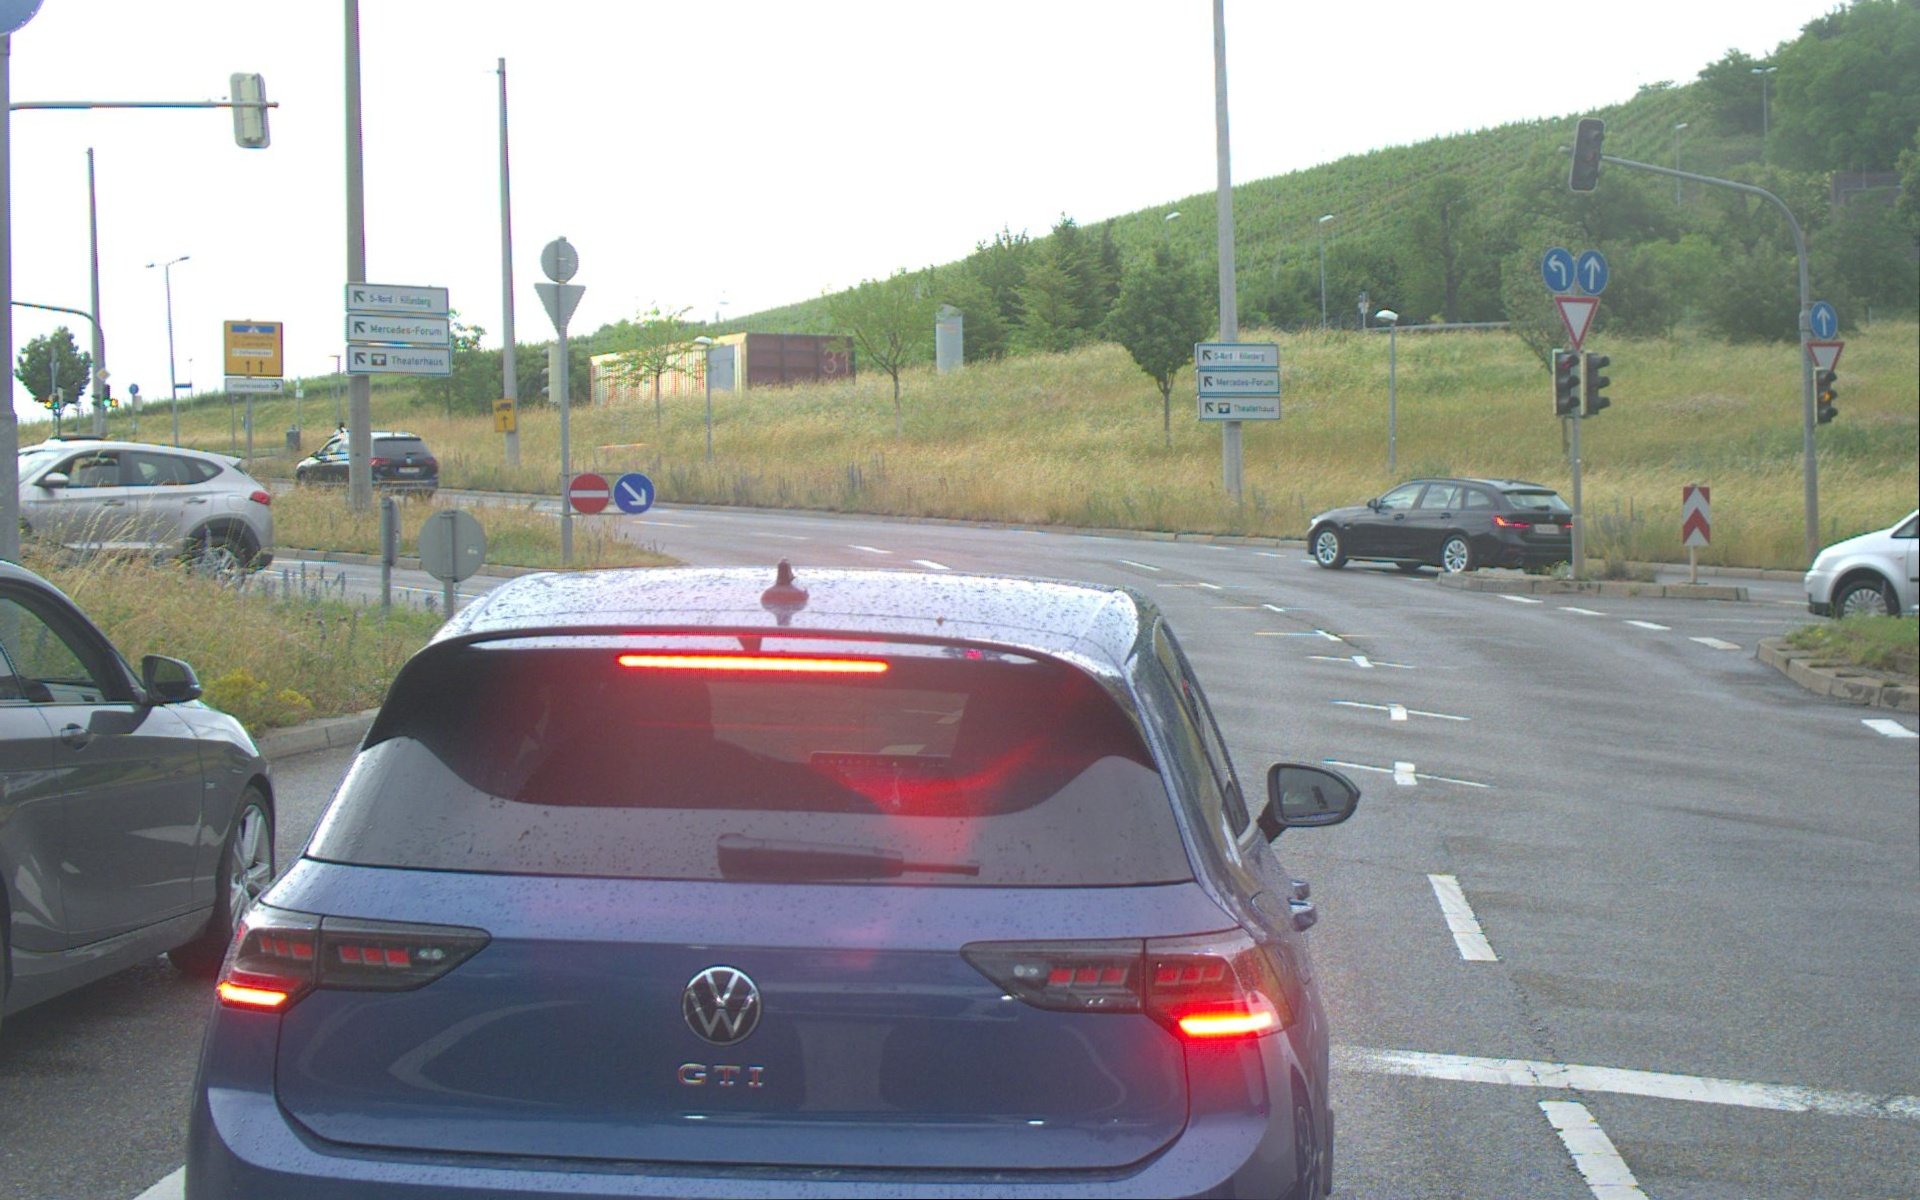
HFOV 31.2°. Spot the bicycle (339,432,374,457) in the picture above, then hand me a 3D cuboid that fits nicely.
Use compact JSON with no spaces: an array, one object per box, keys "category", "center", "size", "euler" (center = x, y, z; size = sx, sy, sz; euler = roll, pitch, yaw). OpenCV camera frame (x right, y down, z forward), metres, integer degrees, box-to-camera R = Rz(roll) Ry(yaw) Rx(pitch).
[{"category":"bicycle","center":[-19.915,-5.145,113.403],"size":[0.518,0.772,1.621],"euler":[2,1,-33]}]

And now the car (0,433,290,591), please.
[{"category":"car","center":[-9.757,-0.934,37.159],"size":[4.511,1.615,1.999],"euler":[1,0,-38]}]

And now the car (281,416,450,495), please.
[{"category":"car","center":[-13.637,-3.285,78.709],"size":[1.994,1.631,4.420],"euler":[1,0,-37]}]

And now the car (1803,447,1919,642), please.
[{"category":"car","center":[10.562,-0.509,32.517],"size":[4.694,1.844,1.817],"euler":[1,0,40]}]

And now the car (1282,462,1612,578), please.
[{"category":"car","center":[7.148,-1.205,50.941],"size":[1.994,1.612,4.851],"euler":[0,2,-36]}]

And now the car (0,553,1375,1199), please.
[{"category":"car","center":[-0.223,0.654,6.391],"size":[1.825,1.455,3.808],"euler":[0,1,5]}]

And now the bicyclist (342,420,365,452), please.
[{"category":"bicyclist","center":[-20.037,-5.423,113.574],"size":[0.523,1.043,0.580],"euler":[3,1,-34]}]

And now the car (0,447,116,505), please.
[{"category":"car","center":[-25.427,-3.455,96.167],"size":[1.994,1.472,4.502],"euler":[1,0,-36]}]

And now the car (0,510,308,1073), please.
[{"category":"car","center":[-3.259,0.476,9.768],"size":[1.703,1.454,4.114],"euler":[0,1,5]}]
